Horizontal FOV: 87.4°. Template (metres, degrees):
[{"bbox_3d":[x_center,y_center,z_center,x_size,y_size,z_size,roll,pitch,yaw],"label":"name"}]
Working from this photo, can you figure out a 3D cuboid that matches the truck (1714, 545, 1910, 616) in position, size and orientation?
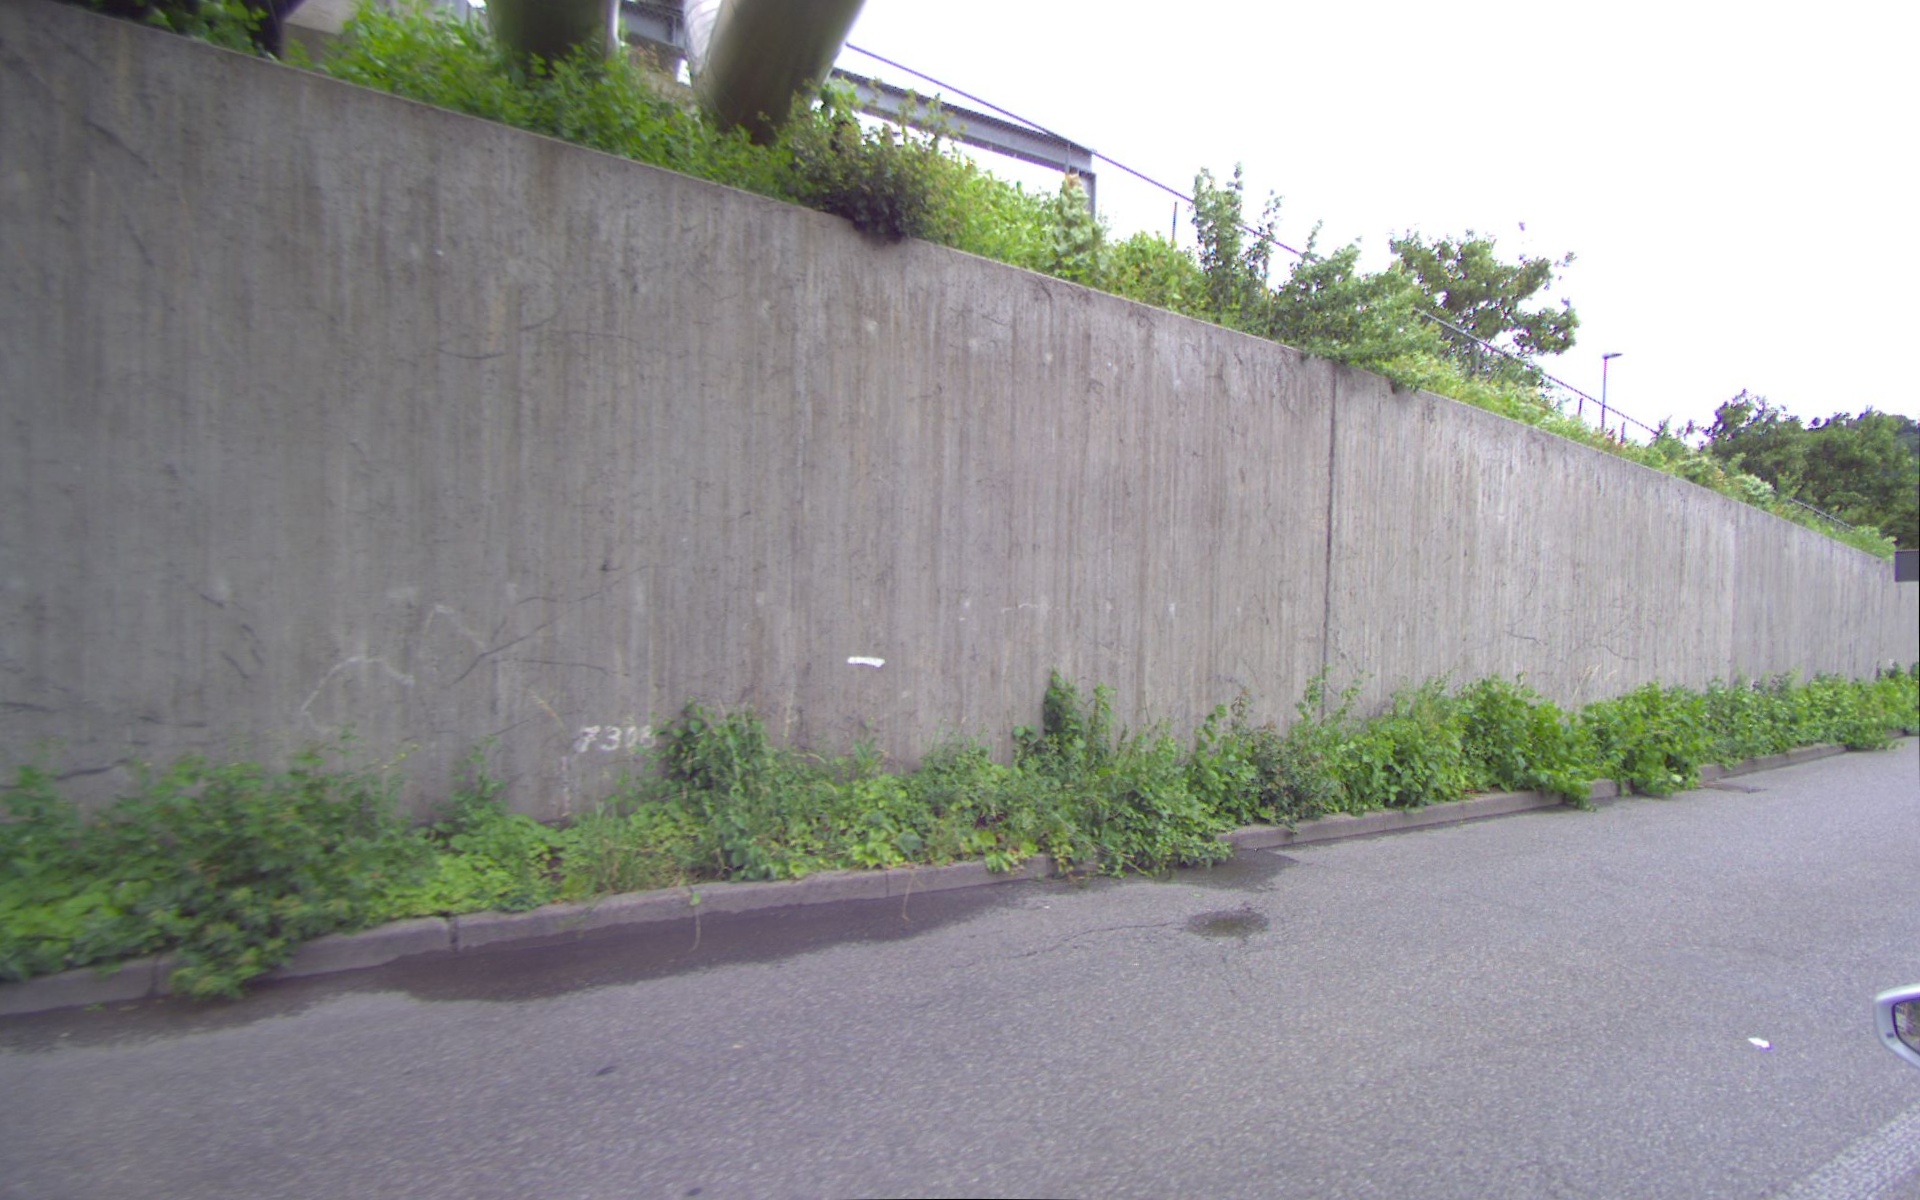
[{"bbox_3d":[47.452,-1.085,56.274,7.715,3.585,3.051,2,-1,23],"label":"truck"}]

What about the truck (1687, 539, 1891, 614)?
[{"bbox_3d":[43.709,-1.258,53.307,7.719,3.585,3.050,2,-1,26],"label":"truck"}]
